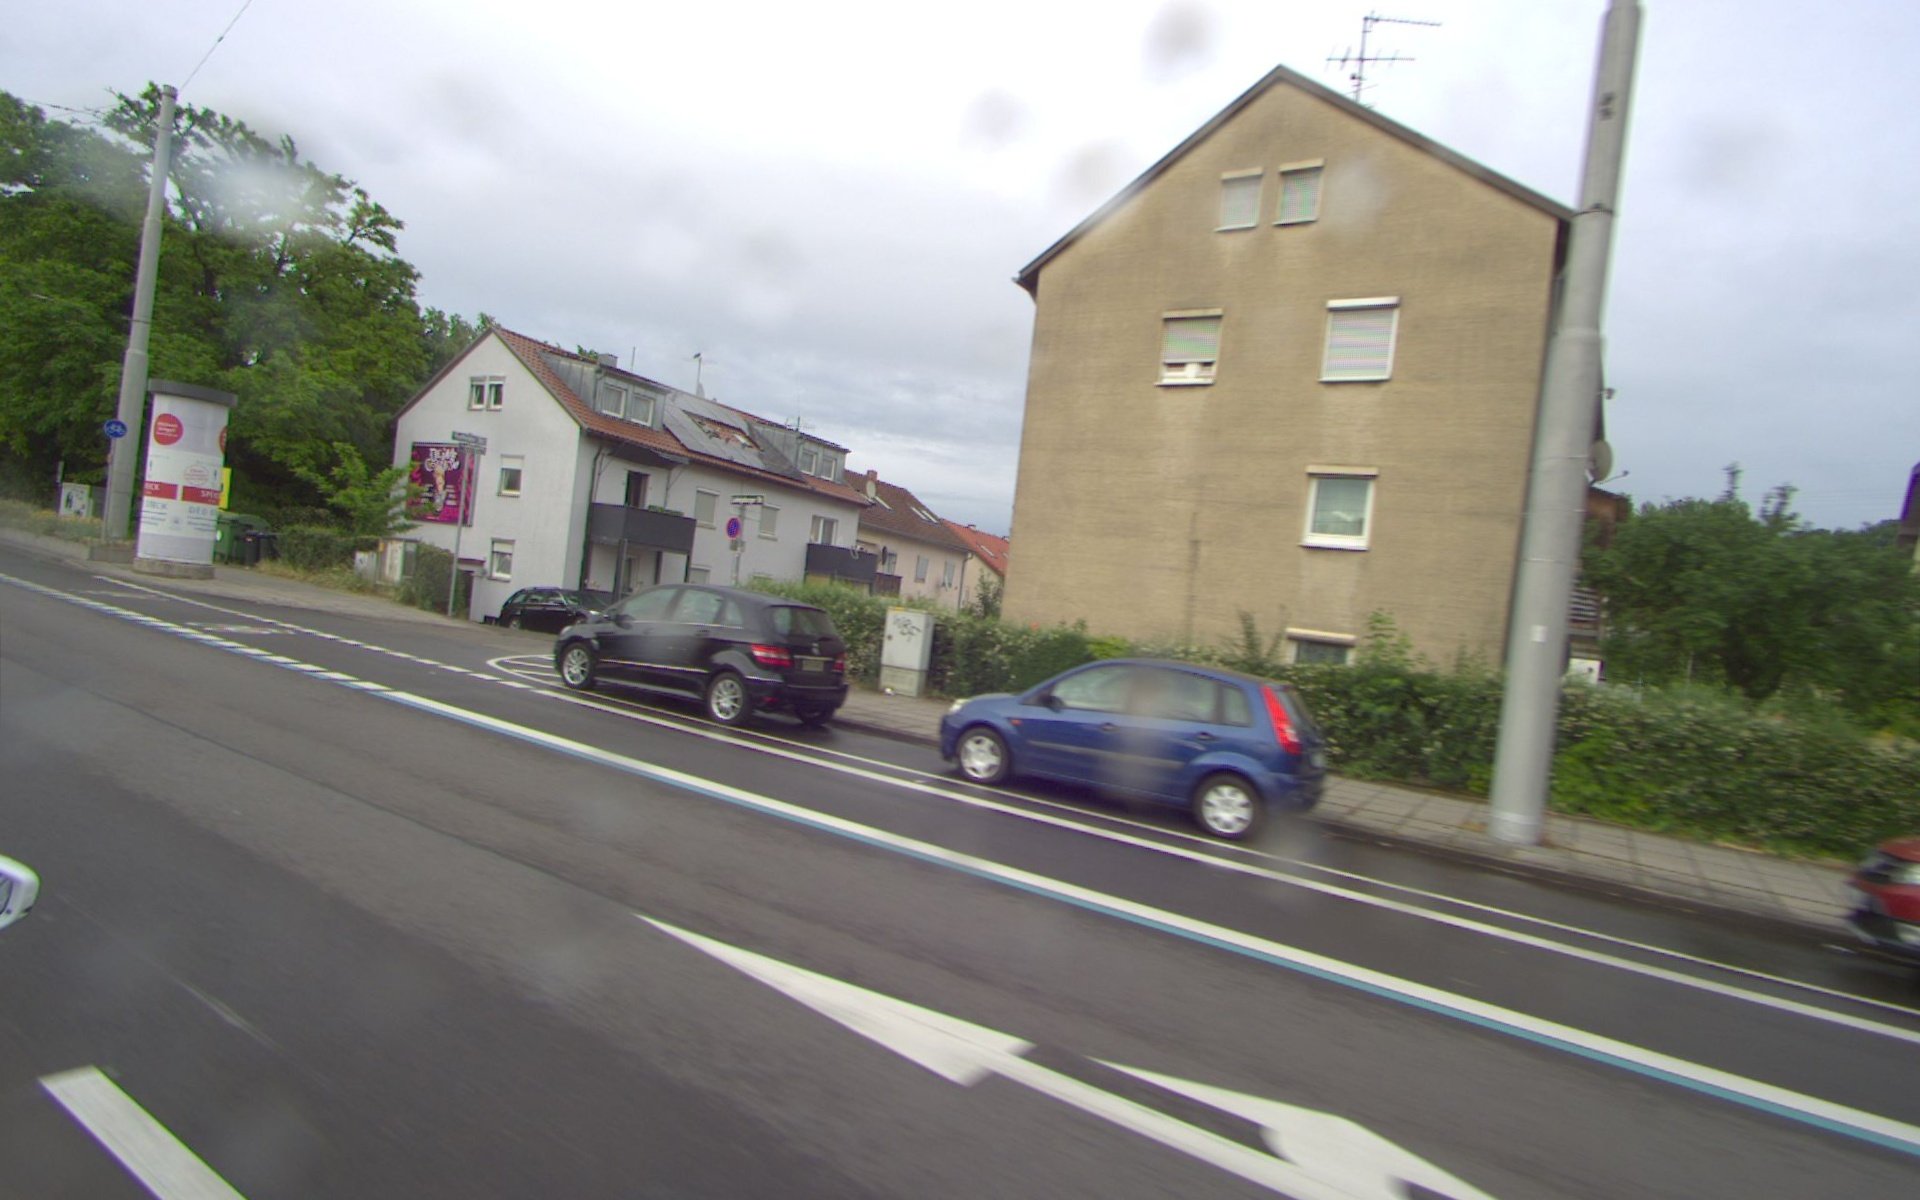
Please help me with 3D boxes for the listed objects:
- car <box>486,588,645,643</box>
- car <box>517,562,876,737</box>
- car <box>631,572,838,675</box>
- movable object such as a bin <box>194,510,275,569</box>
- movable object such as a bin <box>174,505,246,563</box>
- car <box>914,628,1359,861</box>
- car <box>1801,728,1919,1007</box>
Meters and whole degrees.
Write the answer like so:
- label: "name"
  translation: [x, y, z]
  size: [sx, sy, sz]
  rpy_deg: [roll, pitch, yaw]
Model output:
- label: "car"
  translation: [-11.376, 0.446, 28.891]
  size: [4.653, 1.406, 1.755]
  rpy_deg: [0, -4, 32]
- label: "car"
  translation: [-3.464, 0.591, 12.989]
  size: [4.365, 1.551, 1.840]
  rpy_deg: [8, -1, 31]
- label: "car"
  translation: [-4.954, 0.591, 22.672]
  size: [1.850, 1.673, 4.281]
  rpy_deg: [6, -4, 35]
- label: "movable object such as a bin"
  translation: [-20.513, -1.705, 28.468]
  size: [1.278, 1.434, 1.314]
  rpy_deg: [6, -2, 29]
- label: "movable object such as a bin"
  translation: [-21.774, -1.914, 29.208]
  size: [1.115, 1.434, 1.187]
  rpy_deg: [6, -2, 29]
- label: "car"
  translation: [1.686, 1.285, 9.917]
  size: [3.862, 1.460, 1.671]
  rpy_deg: [7, -1, 30]
- label: "car"
  translation: [7.905, 1.930, 6.008]
  size: [4.031, 1.647, 1.840]
  rpy_deg: [7, -1, 32]
